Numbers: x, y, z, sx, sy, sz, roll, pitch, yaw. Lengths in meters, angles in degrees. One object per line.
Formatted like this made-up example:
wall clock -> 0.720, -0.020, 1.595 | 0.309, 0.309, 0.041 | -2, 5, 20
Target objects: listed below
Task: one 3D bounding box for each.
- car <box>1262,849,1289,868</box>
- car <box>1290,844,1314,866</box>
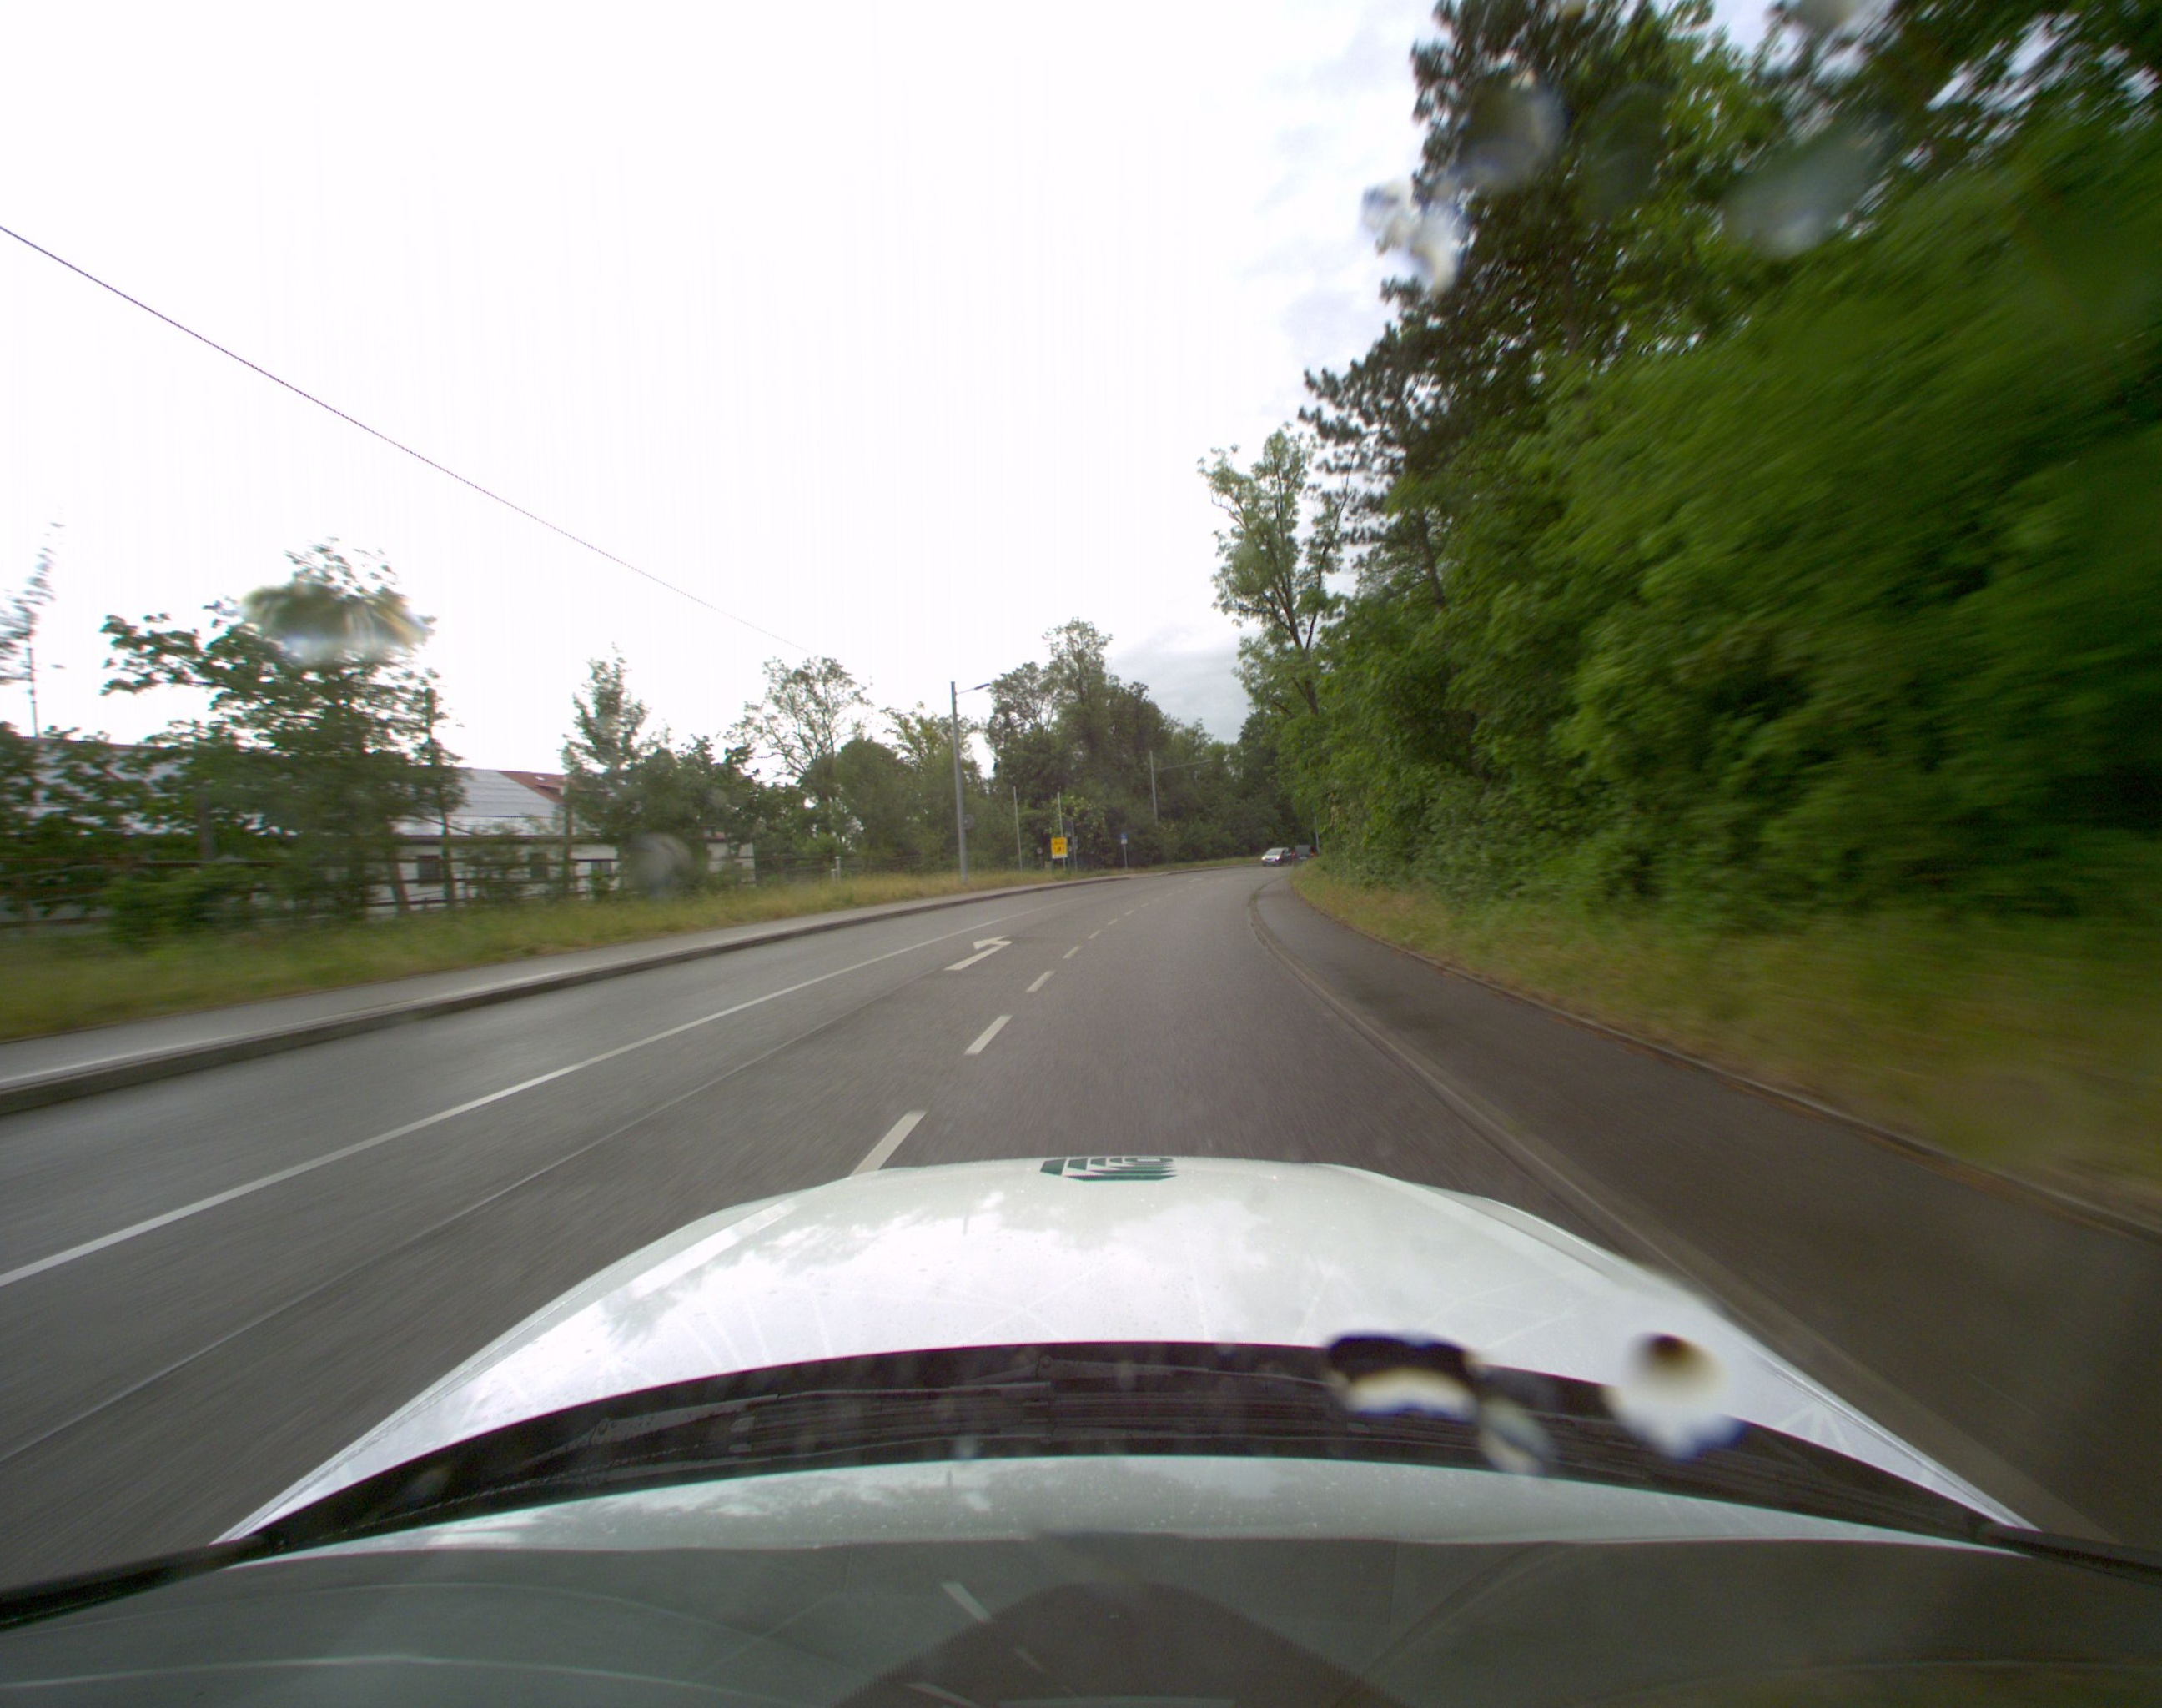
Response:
car -> 17.752, 0.398, 74.374 | 1.744, 1.615, 4.441 | -1, 0, 22
car -> 17.054, 0.102, 62.785 | 1.655, 1.594, 3.698 | -1, 0, 16
